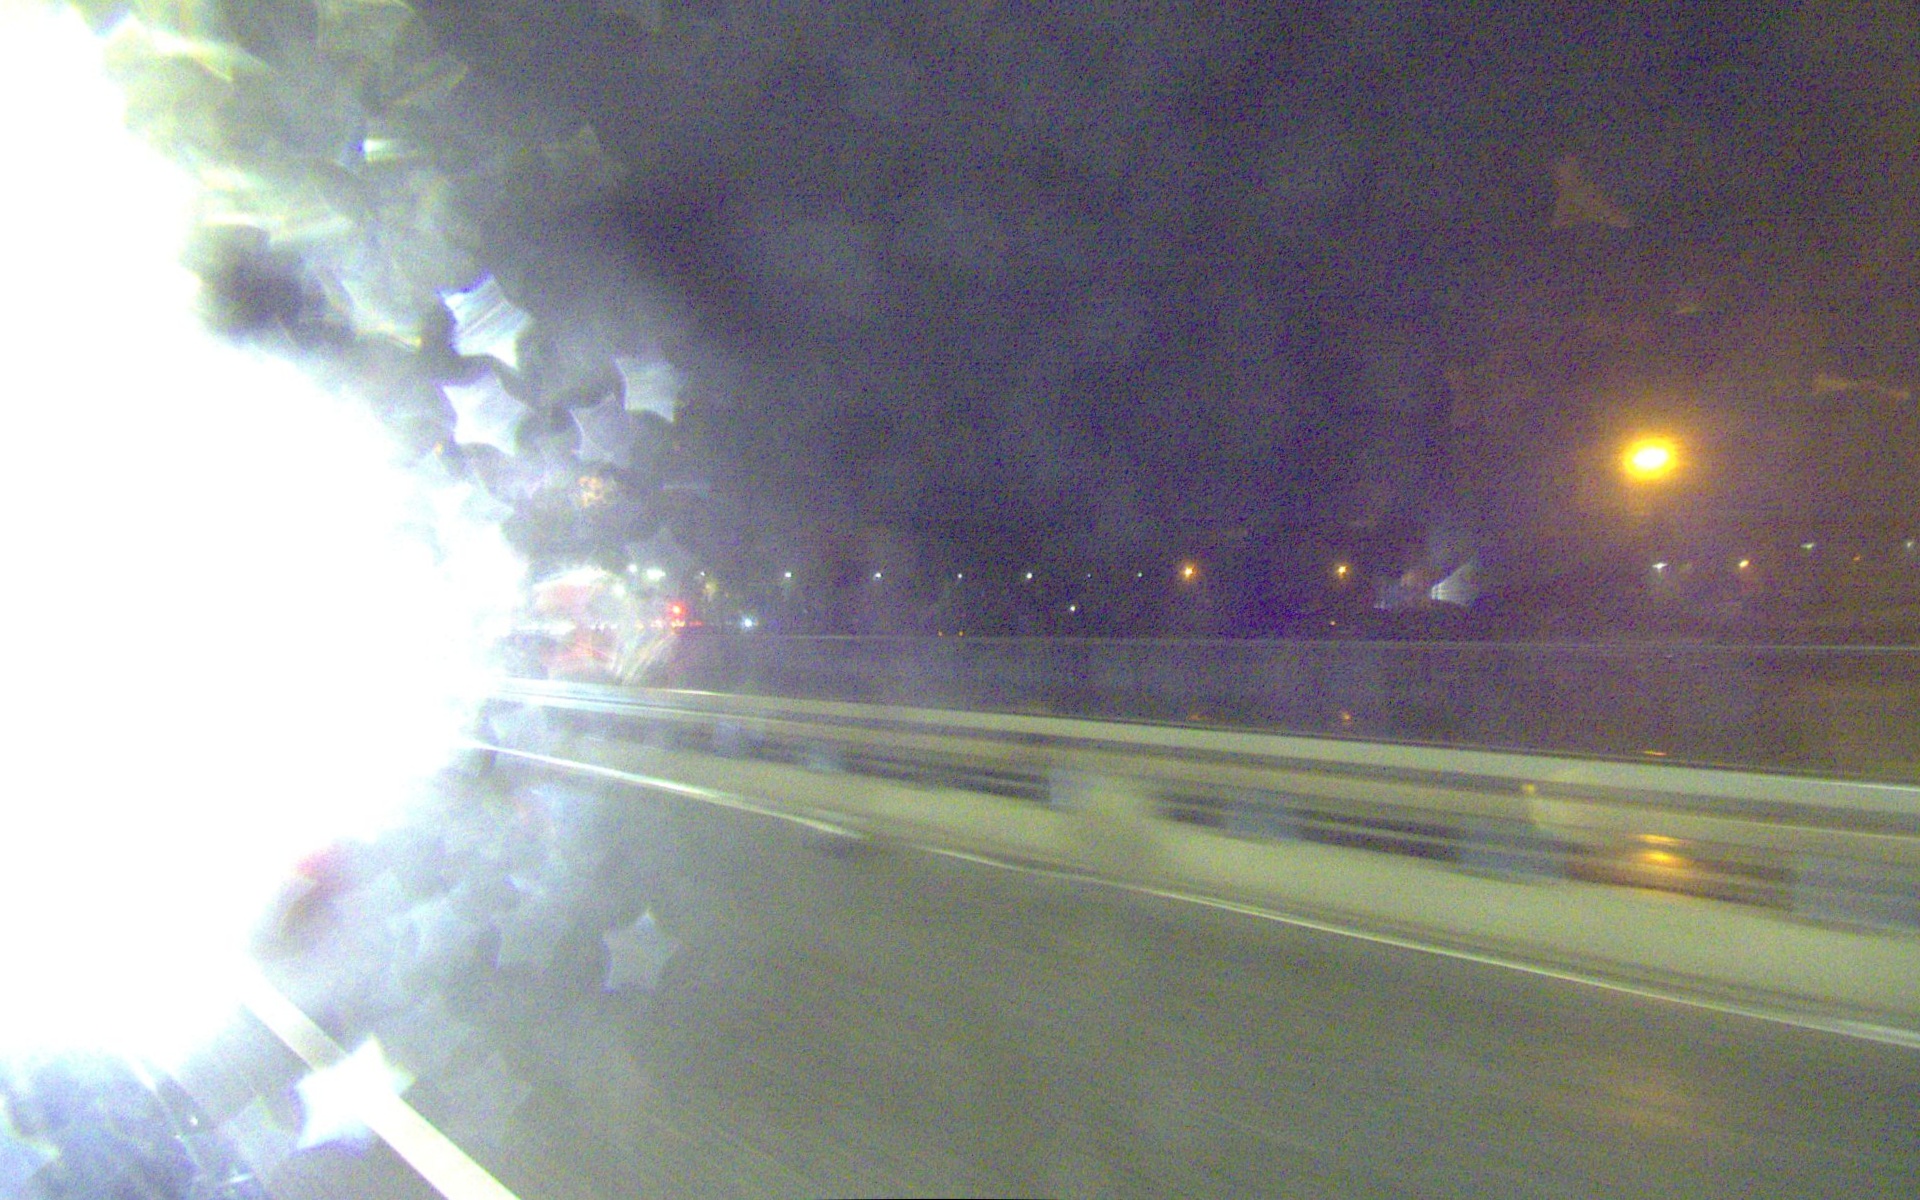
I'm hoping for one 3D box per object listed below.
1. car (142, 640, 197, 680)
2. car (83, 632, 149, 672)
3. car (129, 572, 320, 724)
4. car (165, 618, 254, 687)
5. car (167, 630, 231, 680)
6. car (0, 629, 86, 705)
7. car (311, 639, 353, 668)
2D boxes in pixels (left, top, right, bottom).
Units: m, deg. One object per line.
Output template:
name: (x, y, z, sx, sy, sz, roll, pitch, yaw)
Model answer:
car: (-39.794, 3.012, 51.021, 1.284, 1.539, 3.056, -10, 6, -24)
car: (-34.414, 2.125, 41.325, 1.497, 1.537, 3.116, 0, -2, -29)
car: (-12.591, 0.751, 17.177, 2.019, 2.186, 5.160, 1, -2, -43)
car: (-20.012, 1.333, 27.112, 1.768, 1.643, 4.003, 0, 0, -35)
car: (-27.838, 1.951, 37.122, 1.755, 1.717, 4.324, 1, -2, -36)
car: (-27.248, 1.907, 29.560, 1.966, 2.029, 4.011, -1, -1, -32)
car: (-50.141, 4.292, 80.884, 1.629, 2.028, 4.011, -8, -2, -17)
